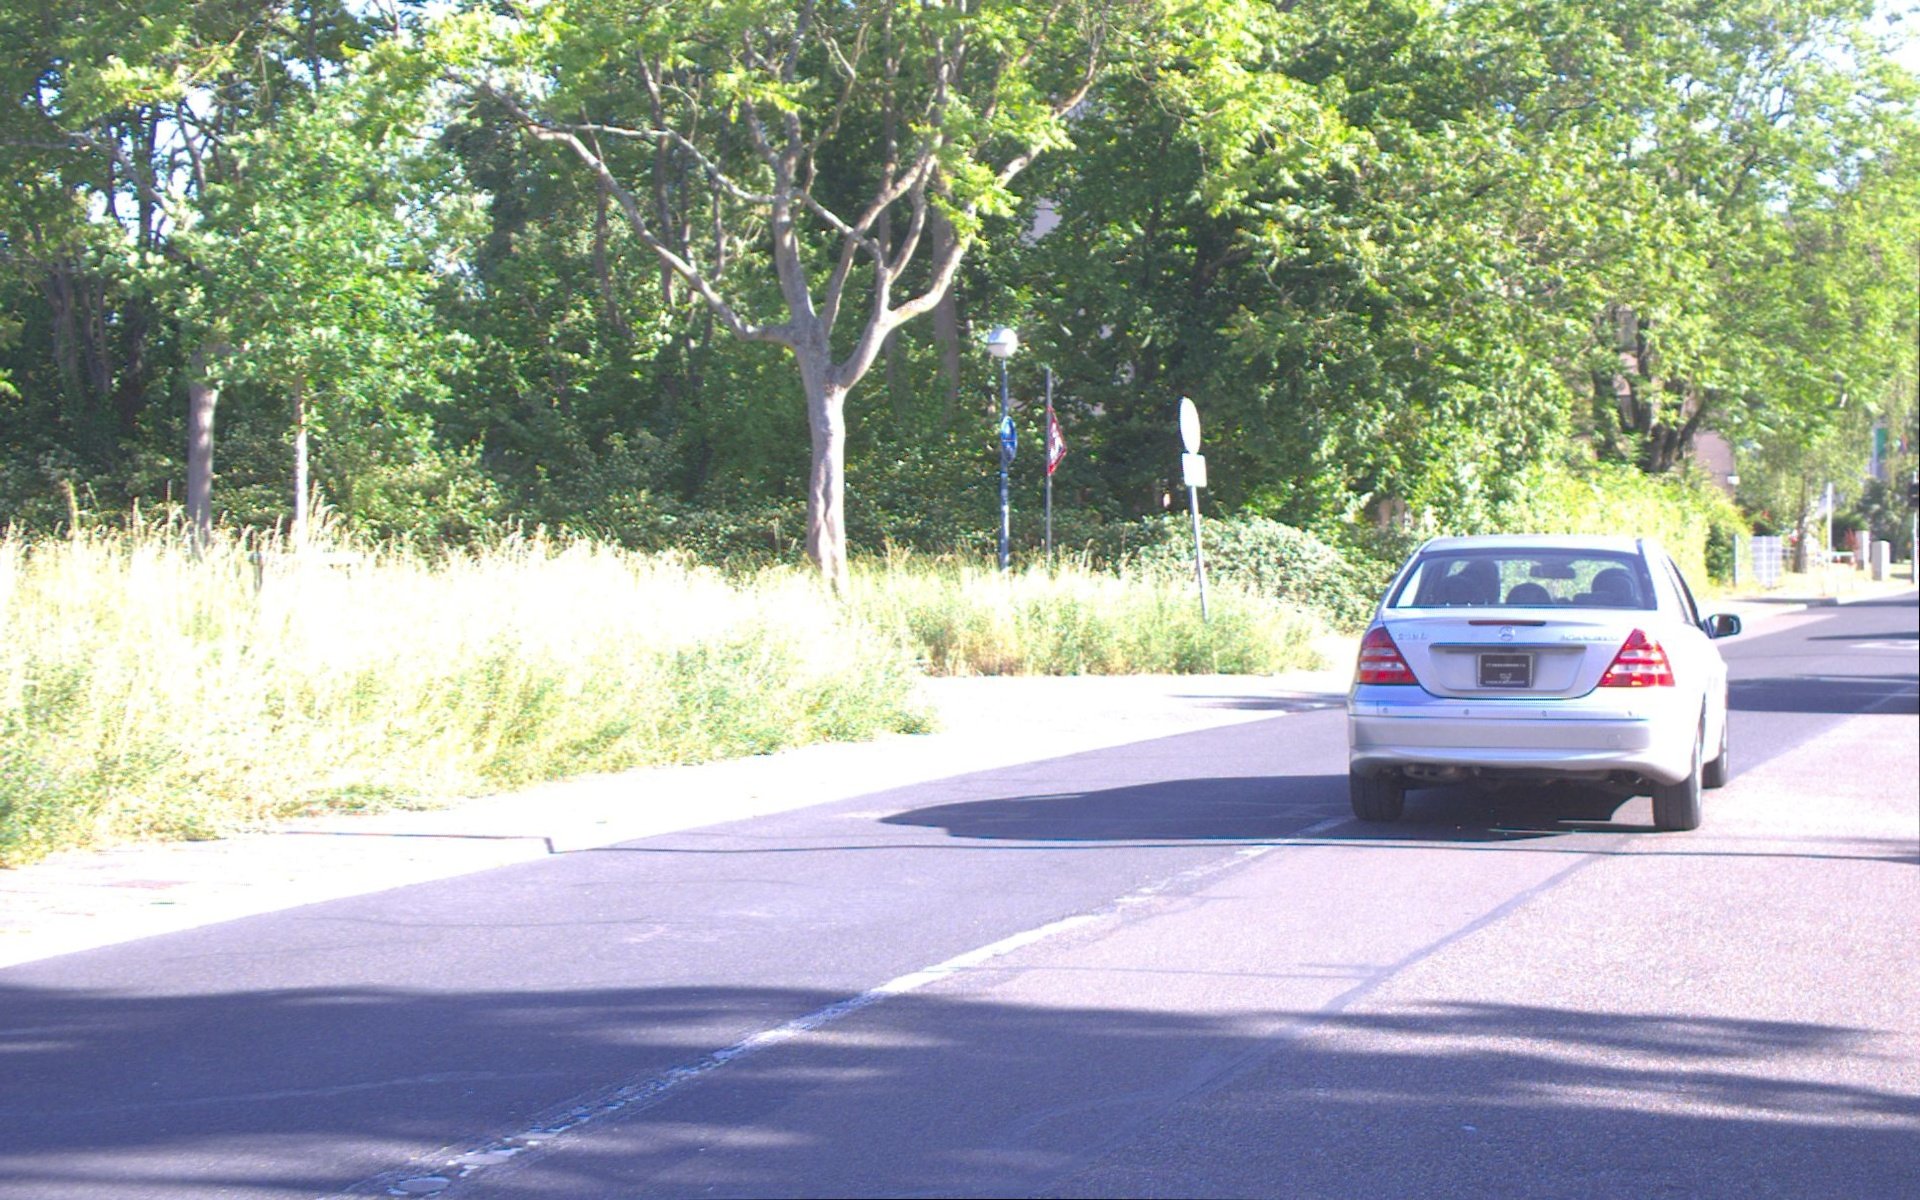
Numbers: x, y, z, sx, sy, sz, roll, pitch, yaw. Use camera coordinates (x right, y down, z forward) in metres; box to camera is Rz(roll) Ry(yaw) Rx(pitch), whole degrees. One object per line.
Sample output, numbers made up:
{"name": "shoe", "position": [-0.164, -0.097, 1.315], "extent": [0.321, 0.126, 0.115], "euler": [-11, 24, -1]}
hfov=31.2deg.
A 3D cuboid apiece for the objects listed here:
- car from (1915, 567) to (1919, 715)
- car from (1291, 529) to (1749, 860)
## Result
{"name": "car", "position": [9.021, 0.190, 29.067], "extent": [1.723, 1.474, 3.737], "euler": [2, 1, 16]}
{"name": "car", "position": [3.029, 0.386, 17.841], "extent": [1.817, 1.458, 4.357], "euler": [1, 1, 16]}
